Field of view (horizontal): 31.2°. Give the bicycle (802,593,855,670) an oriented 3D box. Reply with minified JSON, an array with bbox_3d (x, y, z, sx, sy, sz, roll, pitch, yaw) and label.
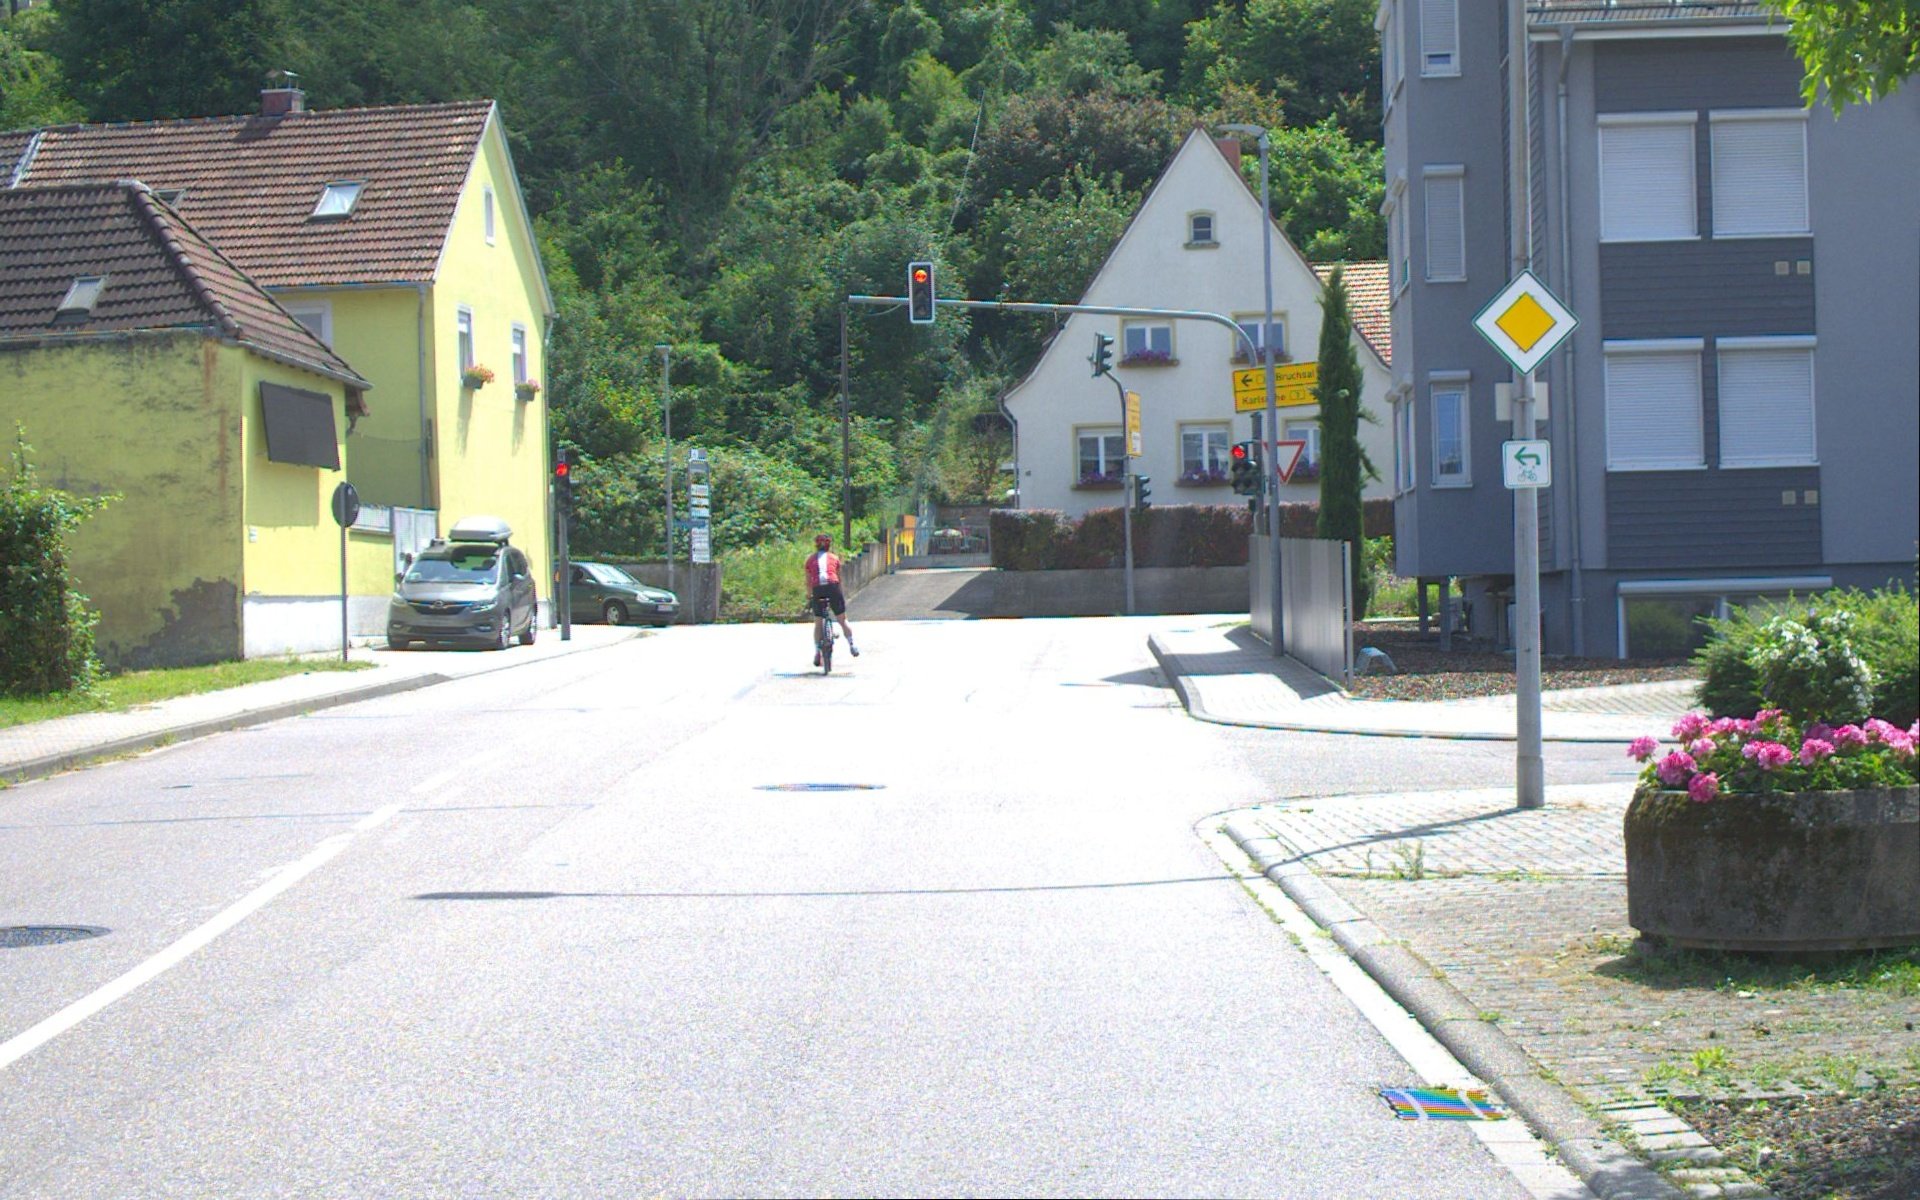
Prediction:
[{"bbox_3d":[-1.604,0.377,42.056,0.630,0.902,1.657,0,1,-2],"label":"bicycle"}]

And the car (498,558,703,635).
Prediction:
[{"bbox_3d":[-7.534,-0.080,72.062,3.864,1.428,1.784,-2,1,26],"label":"car"}]

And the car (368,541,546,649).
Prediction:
[{"bbox_3d":[-7.942,-0.118,54.718,1.993,1.630,4.630,0,1,2],"label":"car"}]

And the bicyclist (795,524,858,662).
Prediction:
[{"bbox_3d":[-1.627,-0.094,41.862,0.760,1.659,0.869,0,1,-2],"label":"bicyclist"}]
